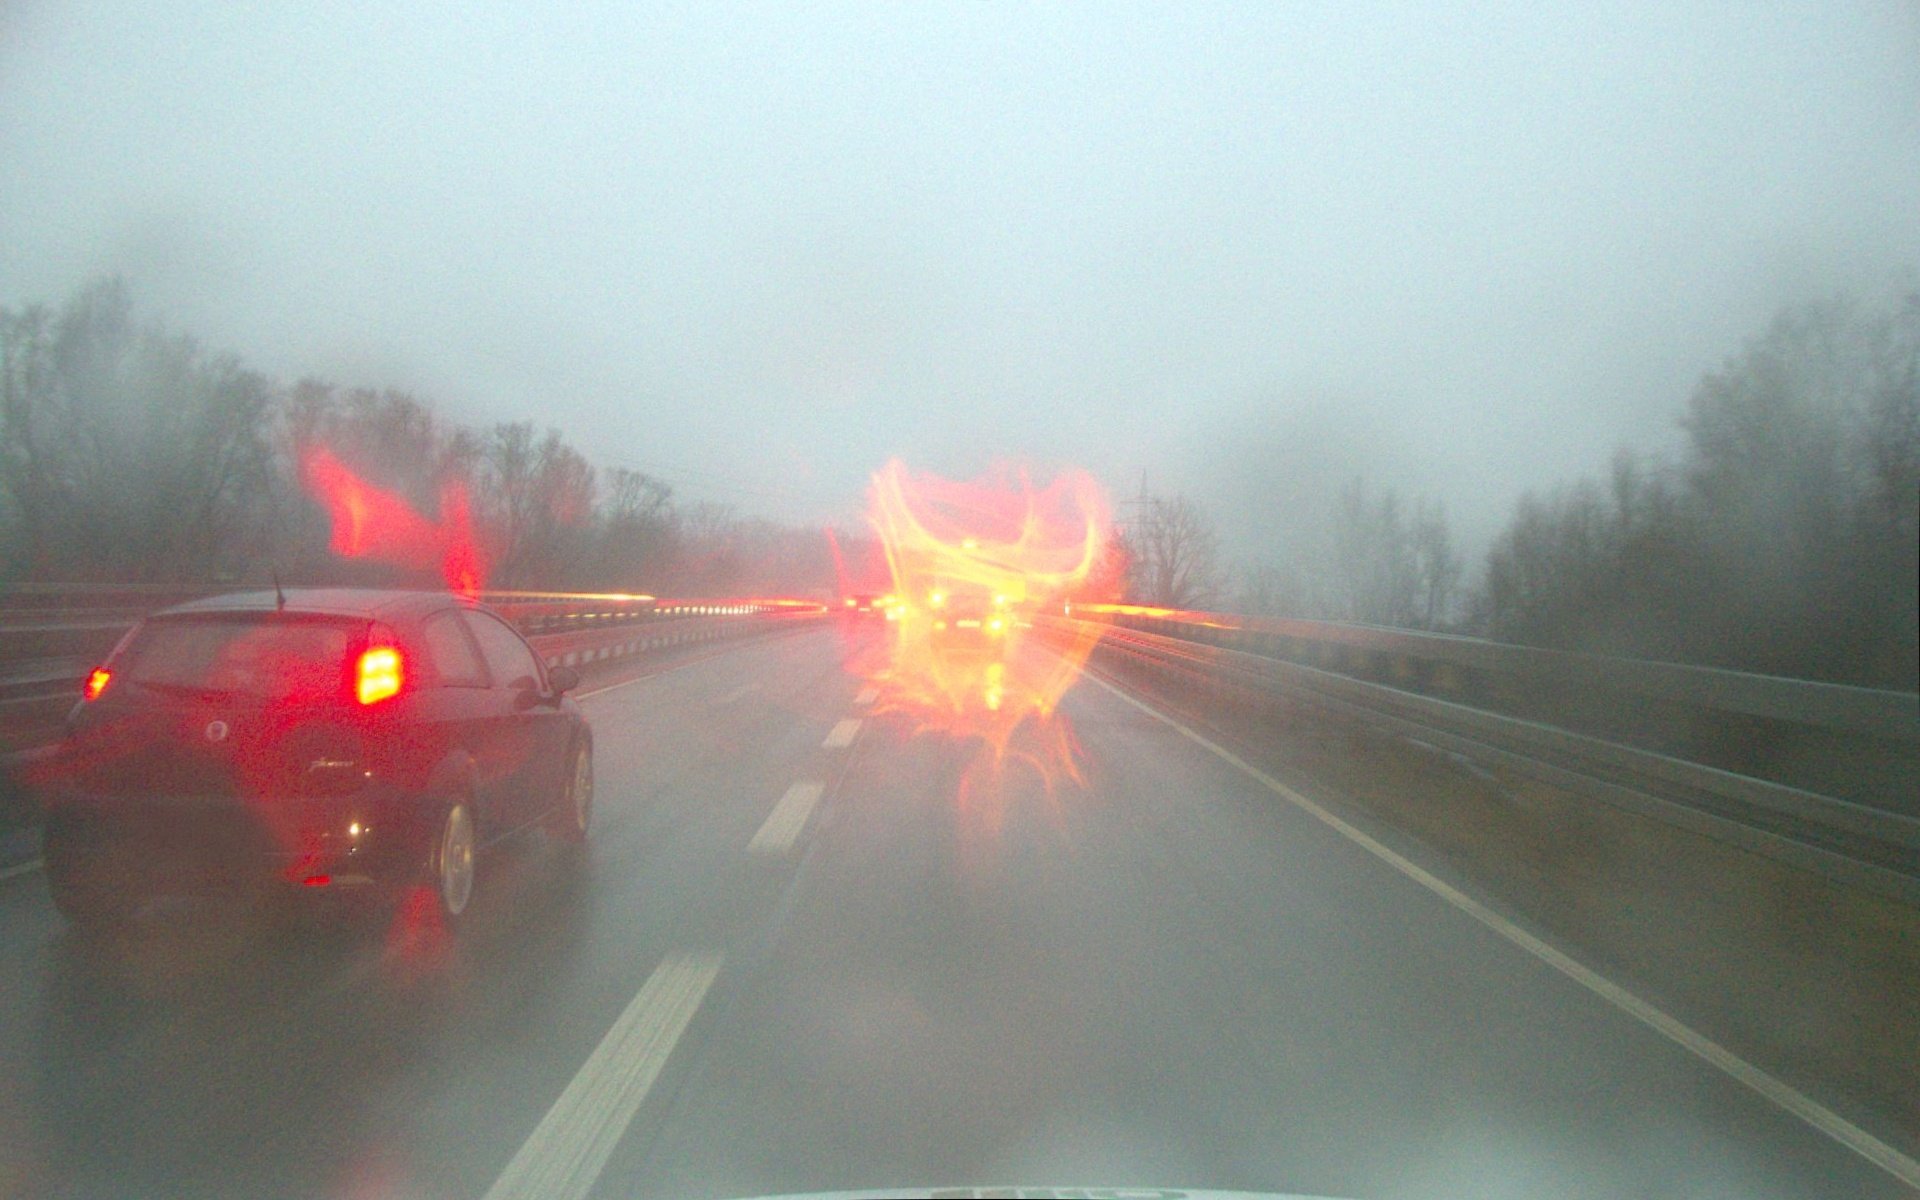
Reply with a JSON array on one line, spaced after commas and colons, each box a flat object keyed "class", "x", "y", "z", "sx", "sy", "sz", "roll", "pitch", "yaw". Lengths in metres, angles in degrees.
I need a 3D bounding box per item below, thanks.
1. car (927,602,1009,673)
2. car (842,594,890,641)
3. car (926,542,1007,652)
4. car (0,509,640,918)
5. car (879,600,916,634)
[{"class": "car", "x": 0.199, "y": 0.836, "z": 38.055, "sx": 1.701, "sy": 1.439, "sz": 4.378, "roll": 3, "pitch": 0, "yaw": 1}, {"class": "car", "x": -4.087, "y": 0.742, "z": 72.455, "sx": 1.954, "sy": 1.846, "sz": 3.998, "roll": 4, "pitch": 0, "yaw": -2}, {"class": "car", "x": 0.149, "y": -0.014, "z": 49.003, "sx": 2.235, "sy": 3.018, "sz": 6.389, "roll": 0, "pitch": -1, "yaw": -1}, {"class": "car", "x": -2.893, "y": 0.498, "z": 8.407, "sx": 1.695, "sy": 1.560, "sz": 4.041, "roll": 1, "pitch": -2, "yaw": 0}, {"class": "car", "x": -3.474, "y": 0.916, "z": 91.884, "sx": 1.953, "sy": 1.743, "sz": 3.999, "roll": 1, "pitch": 1, "yaw": -2}]
